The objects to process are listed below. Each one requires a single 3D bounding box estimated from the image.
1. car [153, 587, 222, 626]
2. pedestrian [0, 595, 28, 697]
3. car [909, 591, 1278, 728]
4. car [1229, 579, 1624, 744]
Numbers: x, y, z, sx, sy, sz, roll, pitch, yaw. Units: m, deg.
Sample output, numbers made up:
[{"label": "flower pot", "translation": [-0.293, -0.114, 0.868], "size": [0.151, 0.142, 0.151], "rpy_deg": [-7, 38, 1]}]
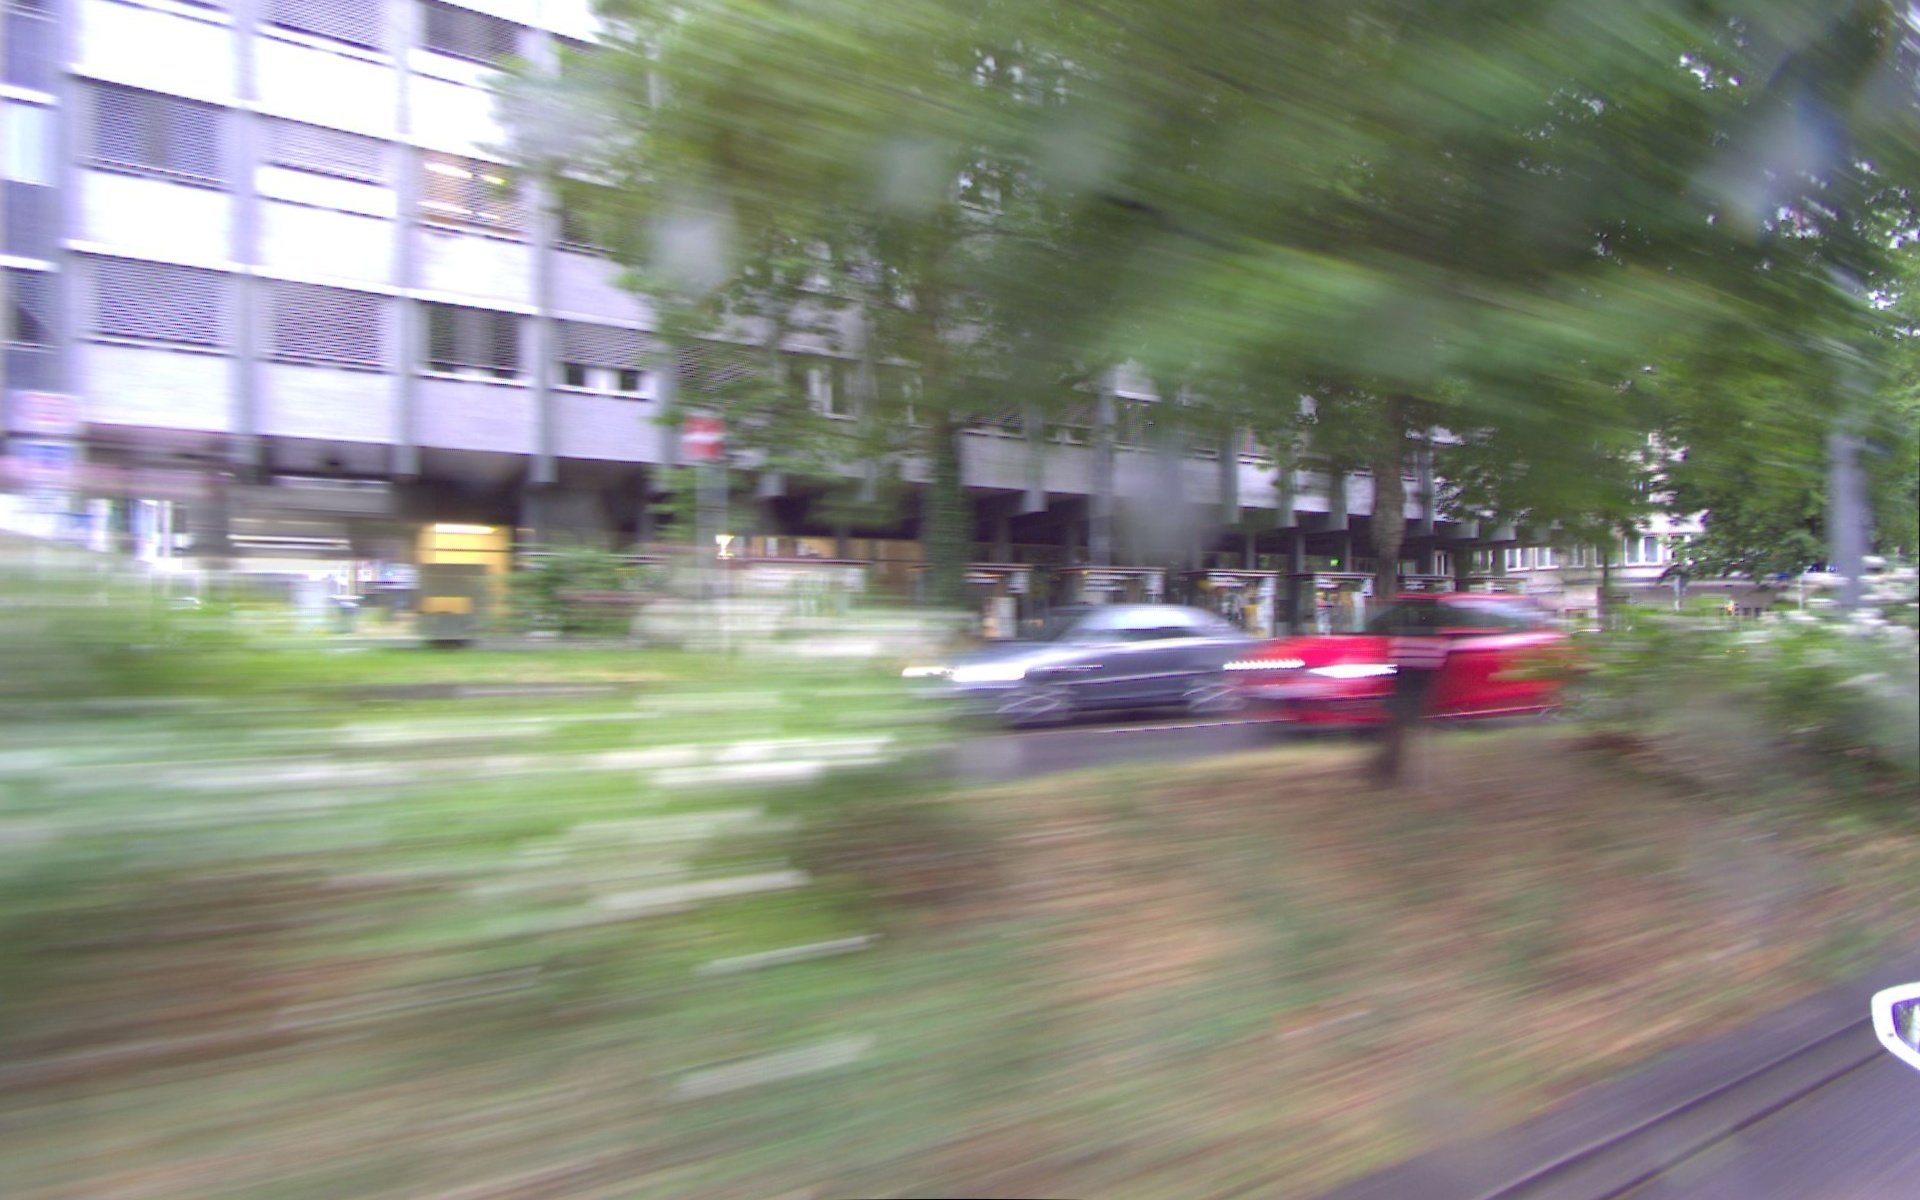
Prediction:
[{"label": "car", "translation": [-39.035, 0.332, 50.864], "size": [1.813, 1.855, 4.183], "rpy_deg": [1, -1, -24]}, {"label": "pedestrian", "translation": [-16.499, 0.784, 17.183], "size": [0.677, 1.731, 0.561], "rpy_deg": [1, -1, -30]}, {"label": "car", "translation": [1.729, 0.711, 12.511], "size": [4.444, 1.447, 1.719], "rpy_deg": [1, -4, -30]}, {"label": "car", "translation": [4.981, 0.620, 10.610], "size": [4.141, 1.447, 1.719], "rpy_deg": [1, -4, -30]}]
